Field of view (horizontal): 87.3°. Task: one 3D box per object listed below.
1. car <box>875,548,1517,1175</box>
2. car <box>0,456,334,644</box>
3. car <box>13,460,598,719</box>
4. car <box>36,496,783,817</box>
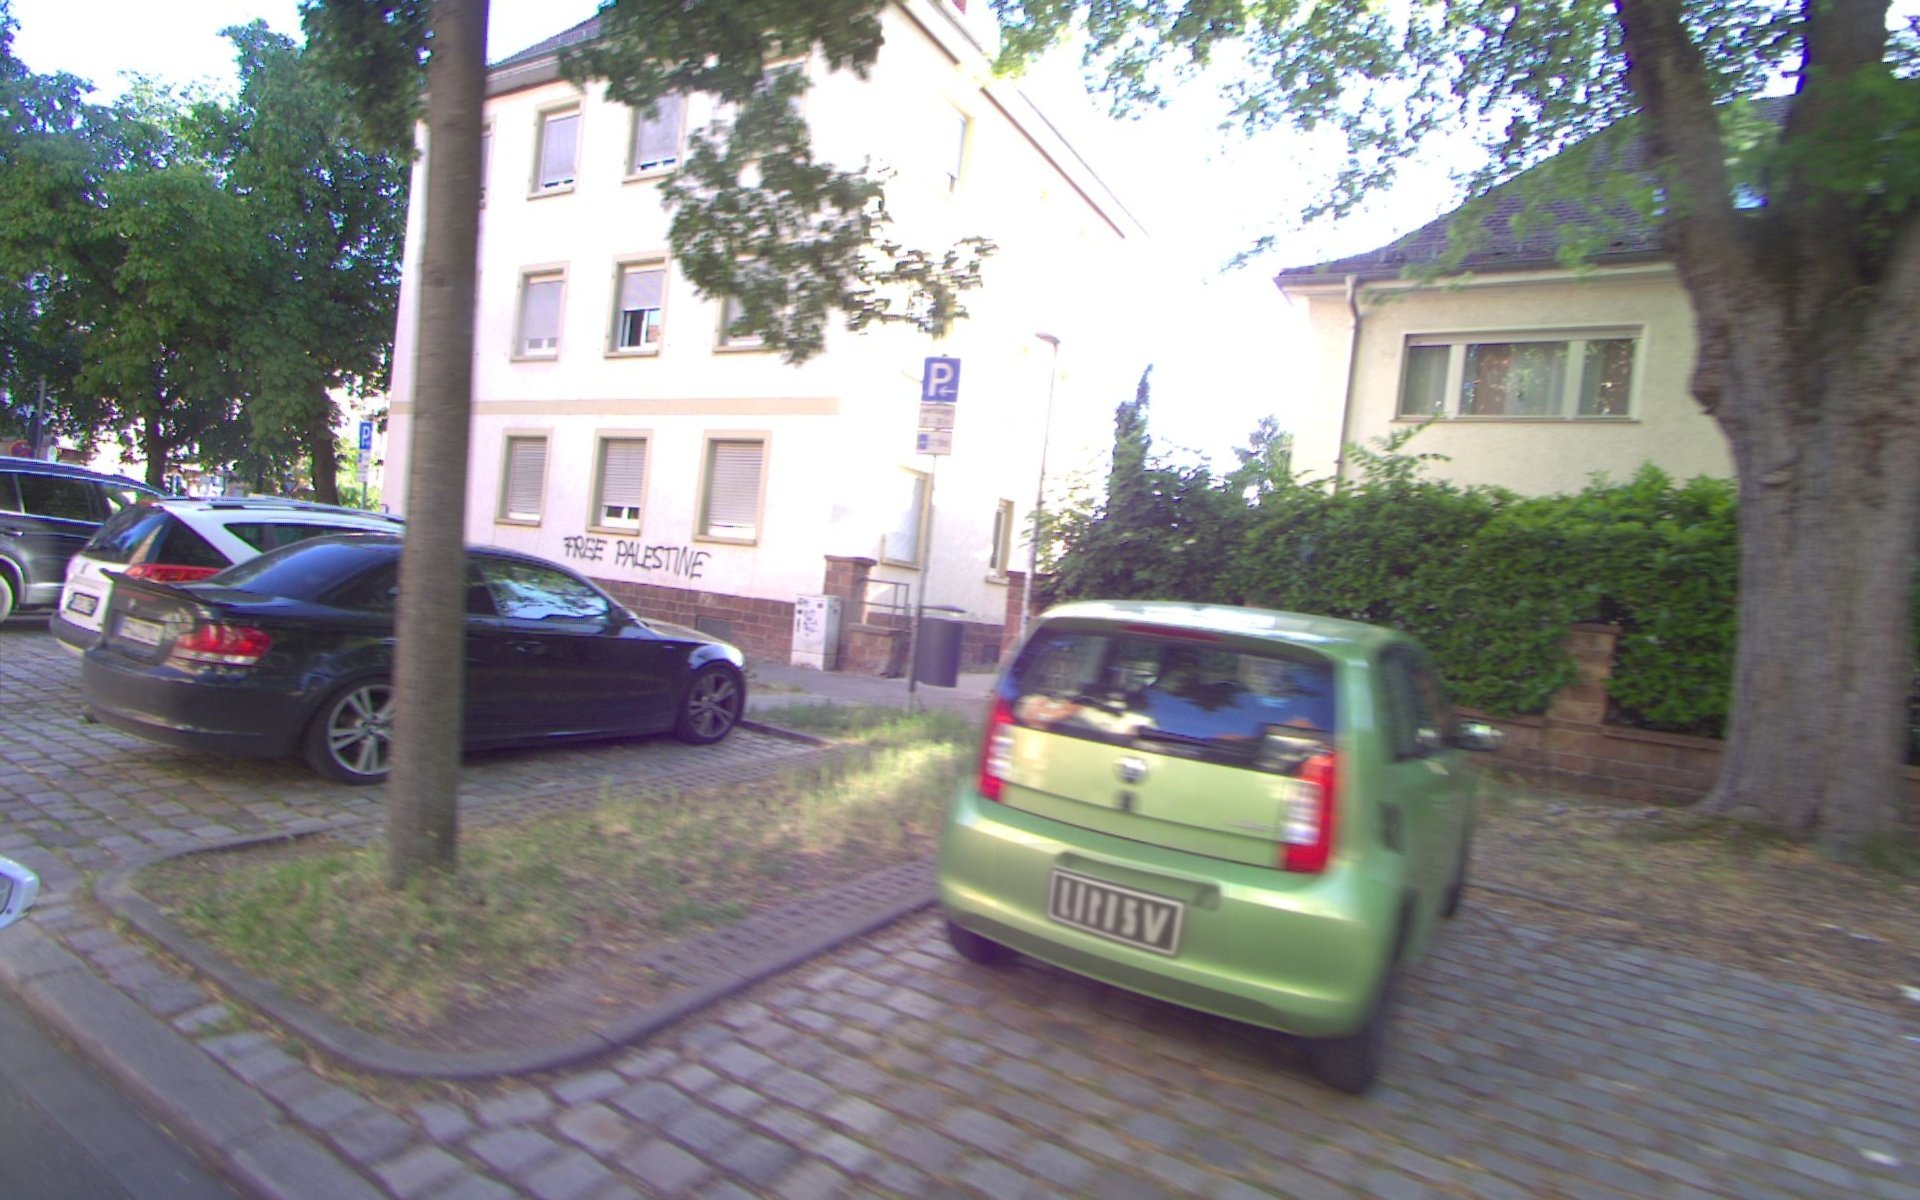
[{"bbox_3d":[1.412,0.744,4.579,1.650,1.525,3.591,7,1,32],"label":"car"},{"bbox_3d":[-9.349,-0.533,10.637,1.988,1.734,4.113,7,1,27],"label":"car"},{"bbox_3d":[-5.236,0.011,8.514,1.677,1.671,3.695,6,-1,34],"label":"car"},{"bbox_3d":[-3.297,0.273,6.875,1.762,1.430,4.105,6,2,31],"label":"car"}]
